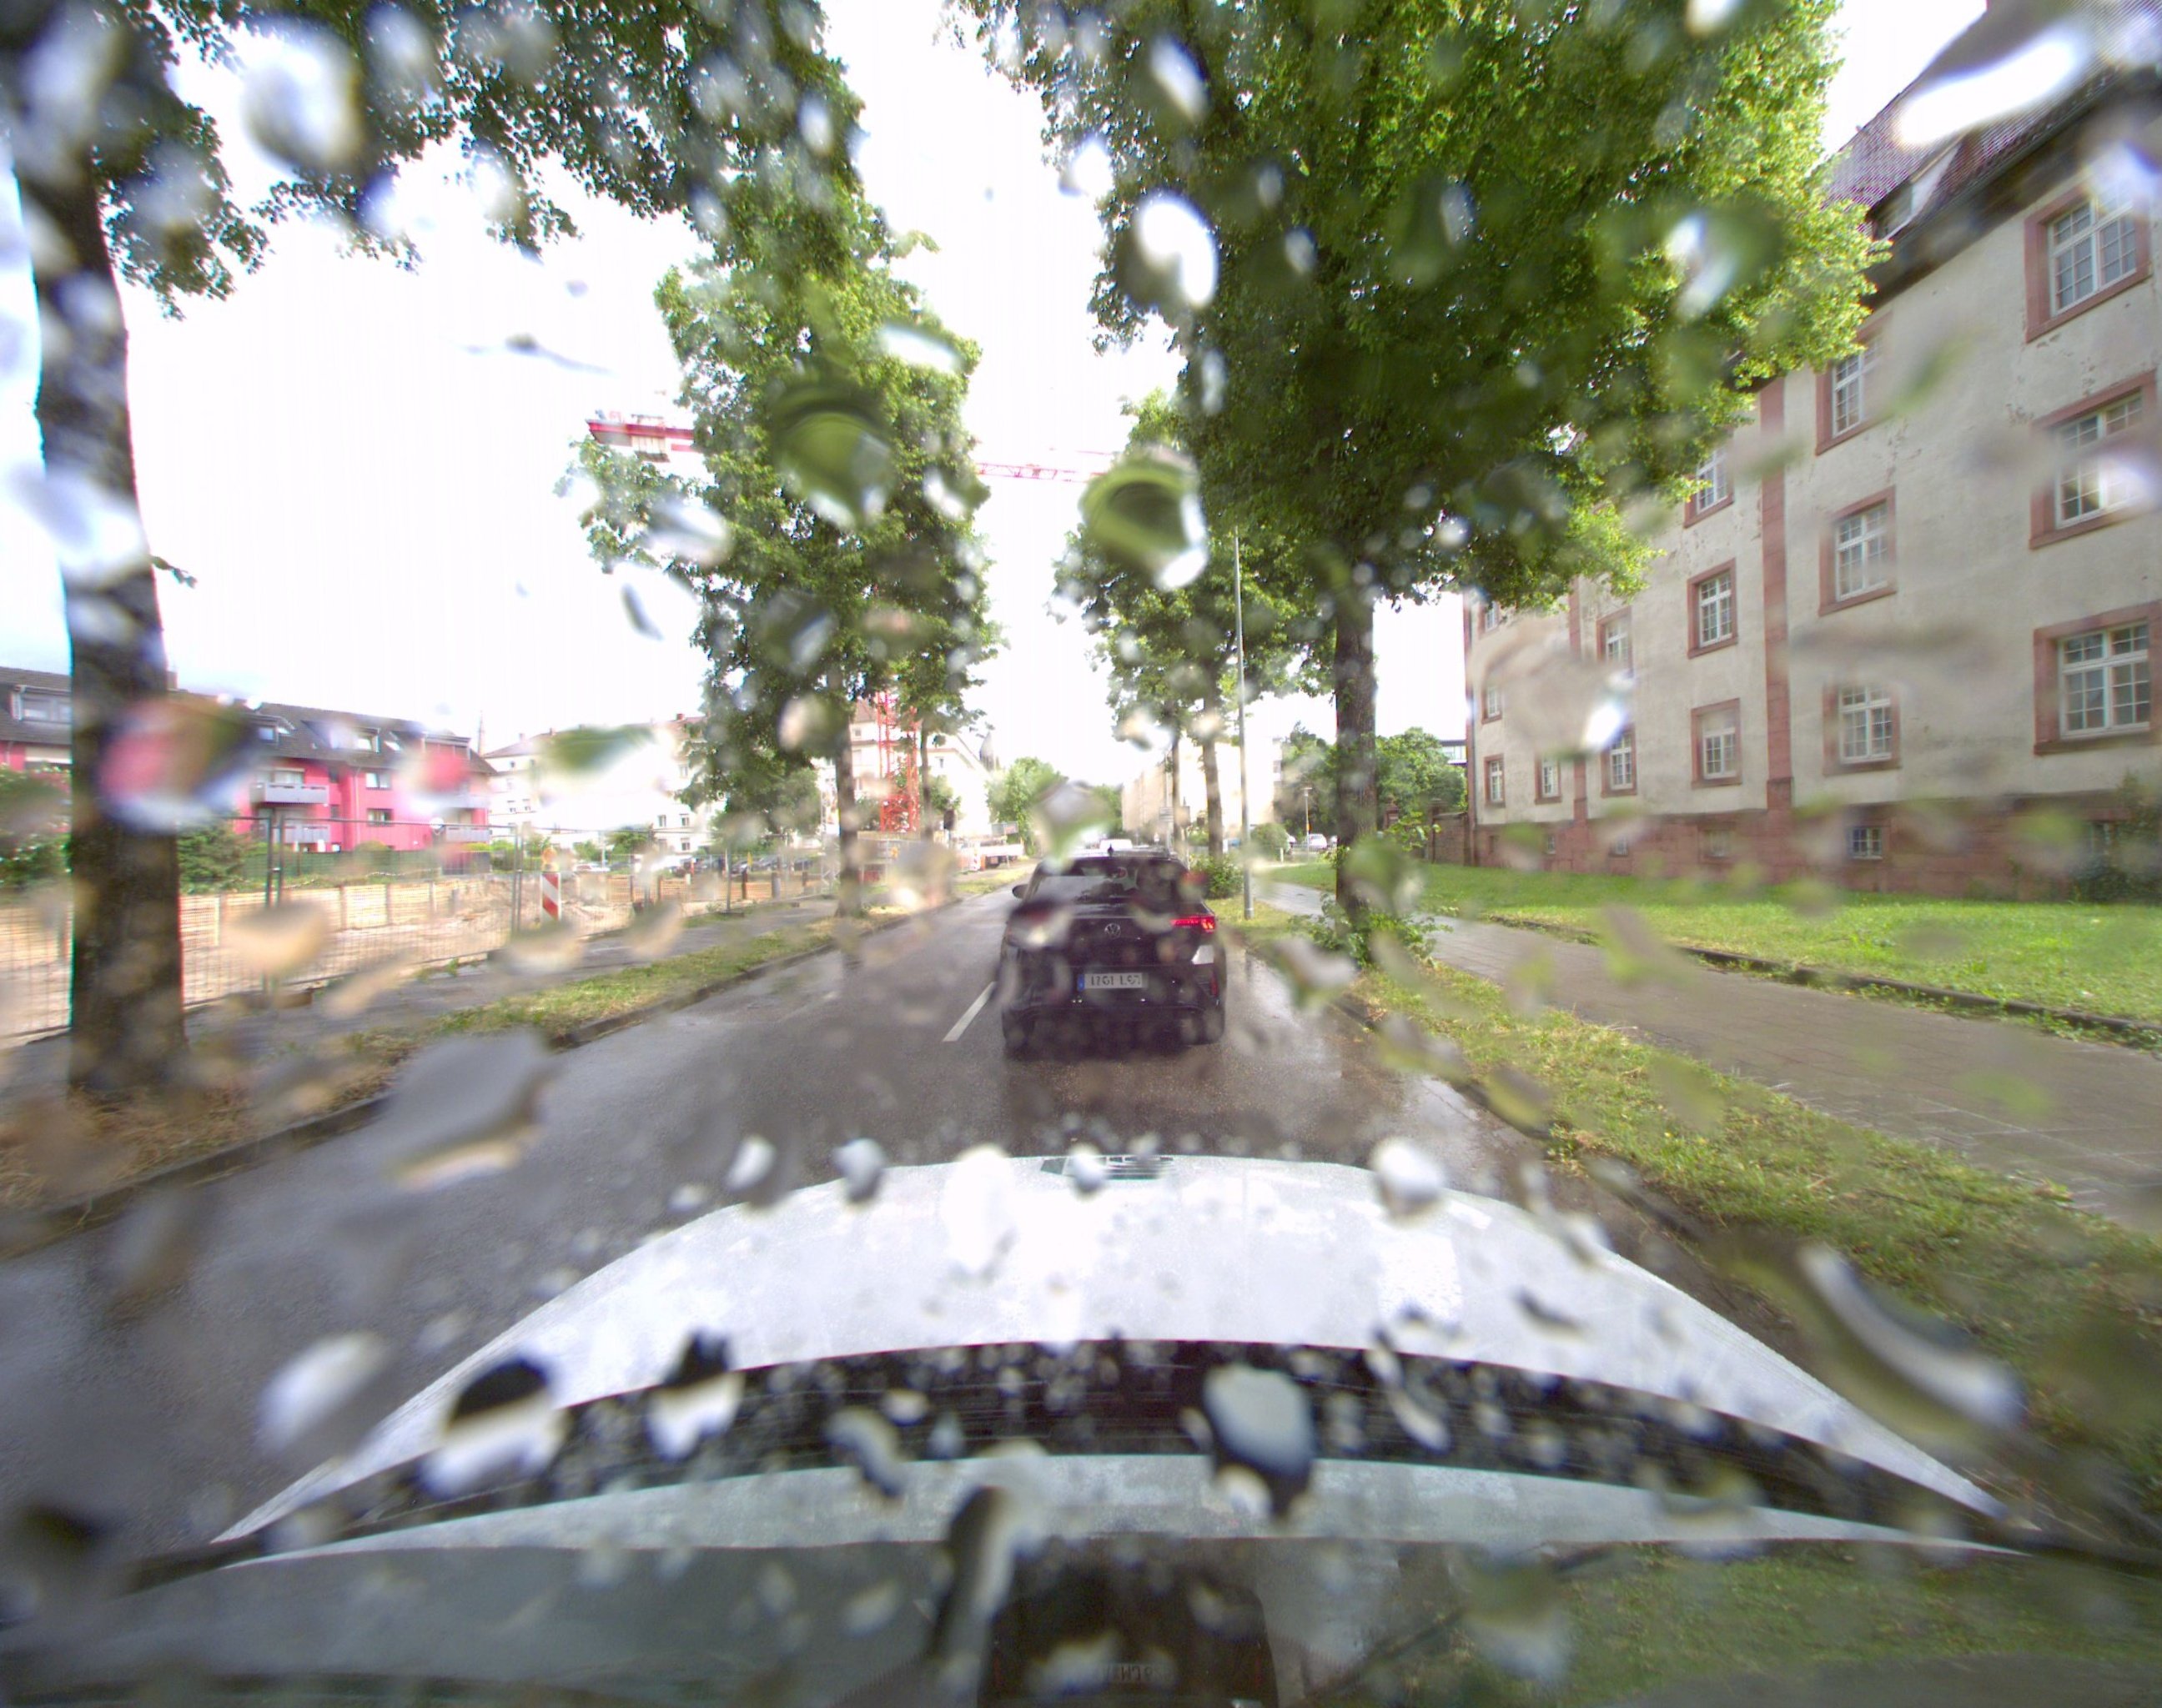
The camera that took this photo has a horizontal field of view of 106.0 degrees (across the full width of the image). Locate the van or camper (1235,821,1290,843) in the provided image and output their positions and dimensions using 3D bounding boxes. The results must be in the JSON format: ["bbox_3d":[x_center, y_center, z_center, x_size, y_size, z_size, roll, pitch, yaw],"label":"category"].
[{"bbox_3d":[17.321,-2.083,77.858,4.856,1.925,2.133,-1,1,2],"label":"van or camper"}]

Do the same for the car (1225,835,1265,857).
[{"bbox_3d":[14.632,-0.734,72.791,3.388,1.781,1.764,-3,0,8],"label":"car"}]

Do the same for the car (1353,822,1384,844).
[{"bbox_3d":[29.459,-2.157,83.595,1.984,2.013,4.007,-5,0,6],"label":"car"}]

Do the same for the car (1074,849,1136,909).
[{"bbox_3d":[0.863,0.751,26.488,1.672,1.708,3.915,-4,0,5],"label":"car"}]

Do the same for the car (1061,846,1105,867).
[{"bbox_3d":[0.199,0.212,77.899,3.956,1.650,1.739,-5,0,-39],"label":"car"}]

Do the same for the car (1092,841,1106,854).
[{"bbox_3d":[2.285,-0.813,102.581,1.585,1.512,3.732,-5,1,1],"label":"car"}]

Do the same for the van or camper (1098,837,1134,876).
[{"bbox_3d":[1.916,0.082,43.558,1.812,1.947,4.199,-1,1,3],"label":"van or camper"}]

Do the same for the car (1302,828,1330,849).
[{"bbox_3d":[21.217,-1.372,73.654,1.733,1.683,3.879,-5,0,8],"label":"car"}]

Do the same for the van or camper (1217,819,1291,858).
[{"bbox_3d":[12.812,-1.135,60.631,5.016,2.595,2.168,-3,0,0],"label":"van or camper"}]

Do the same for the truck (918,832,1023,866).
[{"bbox_3d":[-9.202,-0.432,67.758,8.148,2.656,2.828,-1,1,18],"label":"truck"}]

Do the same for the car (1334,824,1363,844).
[{"bbox_3d":[29.190,-2.147,88.983,1.984,2.013,4.007,-5,0,6],"label":"car"}]

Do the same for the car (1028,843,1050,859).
[{"bbox_3d":[-4.480,-0.316,86.753,1.582,1.512,3.740,-5,1,8],"label":"car"}]

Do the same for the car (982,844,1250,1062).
[{"bbox_3d":[0.317,0.693,7.848,1.887,1.522,4.002,-1,1,2],"label":"car"}]

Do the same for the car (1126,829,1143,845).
[{"bbox_3d":[6.938,-2.247,106.403,1.986,2.013,4.002,-1,0,2],"label":"car"}]

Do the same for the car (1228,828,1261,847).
[{"bbox_3d":[17.639,-1.757,87.916,3.386,1.781,1.765,-5,0,10],"label":"car"}]

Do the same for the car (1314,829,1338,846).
[{"bbox_3d":[28.462,-1.923,94.849,1.858,1.856,3.816,-5,0,6],"label":"car"}]

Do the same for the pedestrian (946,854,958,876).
[{"bbox_3d":[-8.990,0.760,56.636,0.663,1.485,0.668,-2,1,-23],"label":"pedestrian"}]
